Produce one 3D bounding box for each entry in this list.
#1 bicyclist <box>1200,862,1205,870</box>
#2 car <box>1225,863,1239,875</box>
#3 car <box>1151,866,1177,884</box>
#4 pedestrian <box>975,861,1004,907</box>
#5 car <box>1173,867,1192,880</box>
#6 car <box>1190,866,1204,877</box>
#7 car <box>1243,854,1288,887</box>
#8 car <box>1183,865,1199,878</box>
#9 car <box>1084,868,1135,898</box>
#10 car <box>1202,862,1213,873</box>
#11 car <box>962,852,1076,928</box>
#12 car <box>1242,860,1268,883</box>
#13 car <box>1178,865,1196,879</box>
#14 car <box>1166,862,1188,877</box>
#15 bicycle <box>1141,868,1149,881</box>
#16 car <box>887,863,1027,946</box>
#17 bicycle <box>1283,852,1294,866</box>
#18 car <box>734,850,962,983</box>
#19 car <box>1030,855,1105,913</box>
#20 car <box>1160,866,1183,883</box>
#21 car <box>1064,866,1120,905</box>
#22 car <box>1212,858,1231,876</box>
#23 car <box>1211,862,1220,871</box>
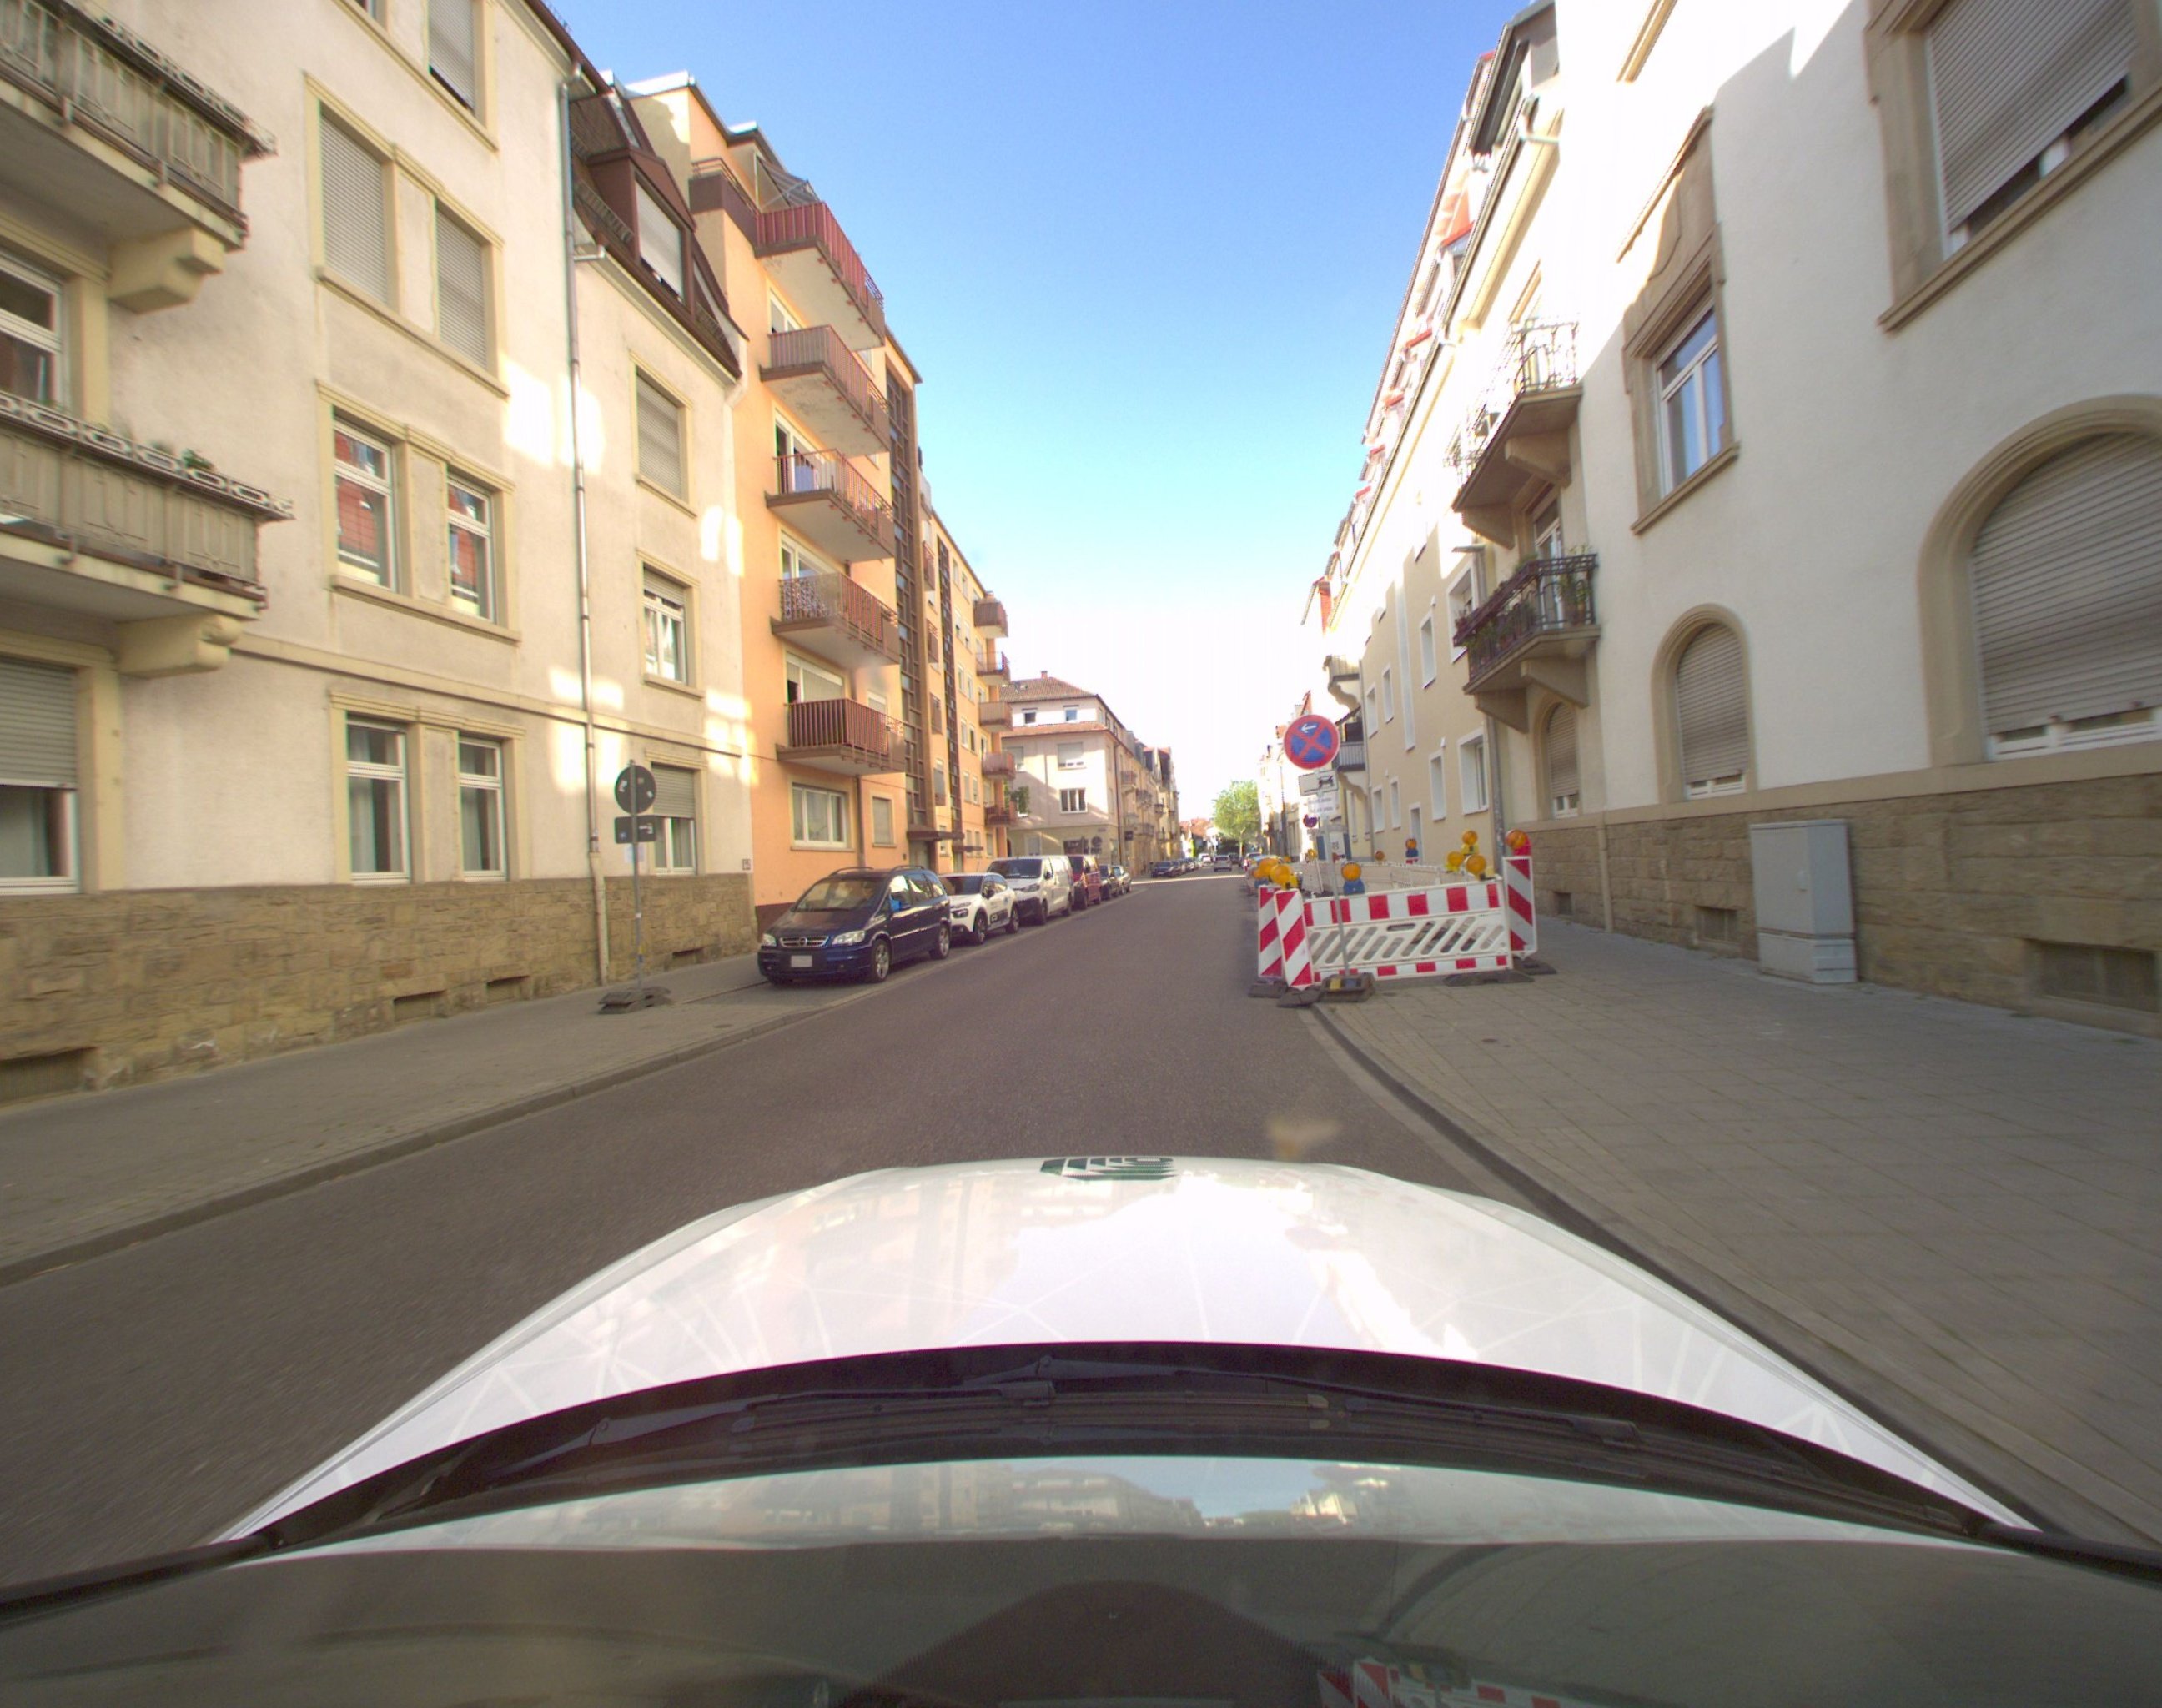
[{"bbox_3d":[21.150,2.144,141.495,0.658,1.386,0.756,-4,-3,9],"label":"bicyclist"},{"bbox_3d":[24.025,2.408,129.685,1.991,2.000,4.499,0,-2,10],"label":"car"},{"bbox_3d":[6.894,1.760,67.553,1.668,1.427,4.287,0,-2,12],"label":"car"},{"bbox_3d":[-3.660,1.203,32.697,0.919,1.817,0.996,-1,-2,7],"label":"pedestrian"},{"bbox_3d":[11.757,2.288,93.990,1.967,1.483,4.339,0,-2,10],"label":"car"},{"bbox_3d":[17.760,2.661,124.248,1.991,1.605,4.499,0,-2,10],"label":"car"},{"bbox_3d":[9.377,0.820,41.562,1.753,1.471,4.093,-5,-2,7],"label":"car"},{"bbox_3d":[14.792,2.355,109.476,1.991,1.788,4.499,0,-2,10],"label":"car"},{"bbox_3d":[1.476,1.396,40.371,1.751,1.377,4.492,-2,-1,11],"label":"car"},{"bbox_3d":[23.548,2.605,151.632,1.991,2.000,4.499,0,-2,10],"label":"car"},{"bbox_3d":[-1.611,0.975,23.580,1.963,1.925,5.324,-2,-1,10],"label":"car"},{"bbox_3d":[14.095,1.453,65.849,1.900,1.645,4.789,-4,-3,13],"label":"car"},{"bbox_3d":[12.818,2.227,98.644,1.991,1.619,4.499,0,-2,10],"label":"car"},{"bbox_3d":[10.102,1.650,85.633,1.991,1.619,4.499,0,-2,10],"label":"car"},{"bbox_3d":[6.585,2.145,83.750,0.537,1.301,1.872,-1,-1,12],"label":"bicycle"},{"bbox_3d":[-2.602,1.038,18.229,1.752,1.621,4.307,-2,-1,10],"label":"car"},{"bbox_3d":[19.069,0.458,74.711,0.756,1.247,2.599,-2,-1,10],"label":"bicycle"},{"bbox_3d":[-3.464,0.883,13.077,1.752,1.771,4.306,-2,-1,10],"label":"car"},{"bbox_3d":[-0.381,1.044,29.684,1.752,1.925,4.948,-2,-1,10],"label":"car"},{"bbox_3d":[8.703,2.000,78.100,1.991,1.582,4.499,0,-2,10],"label":"car"},{"bbox_3d":[0.527,1.328,35.151,1.752,1.502,4.010,-3,-1,9],"label":"car"},{"bbox_3d":[15.453,1.455,89.222,1.991,1.914,4.500,0,-2,10],"label":"car"},{"bbox_3d":[28.667,2.732,173.508,1.991,1.817,4.499,0,-2,10],"label":"car"}]
